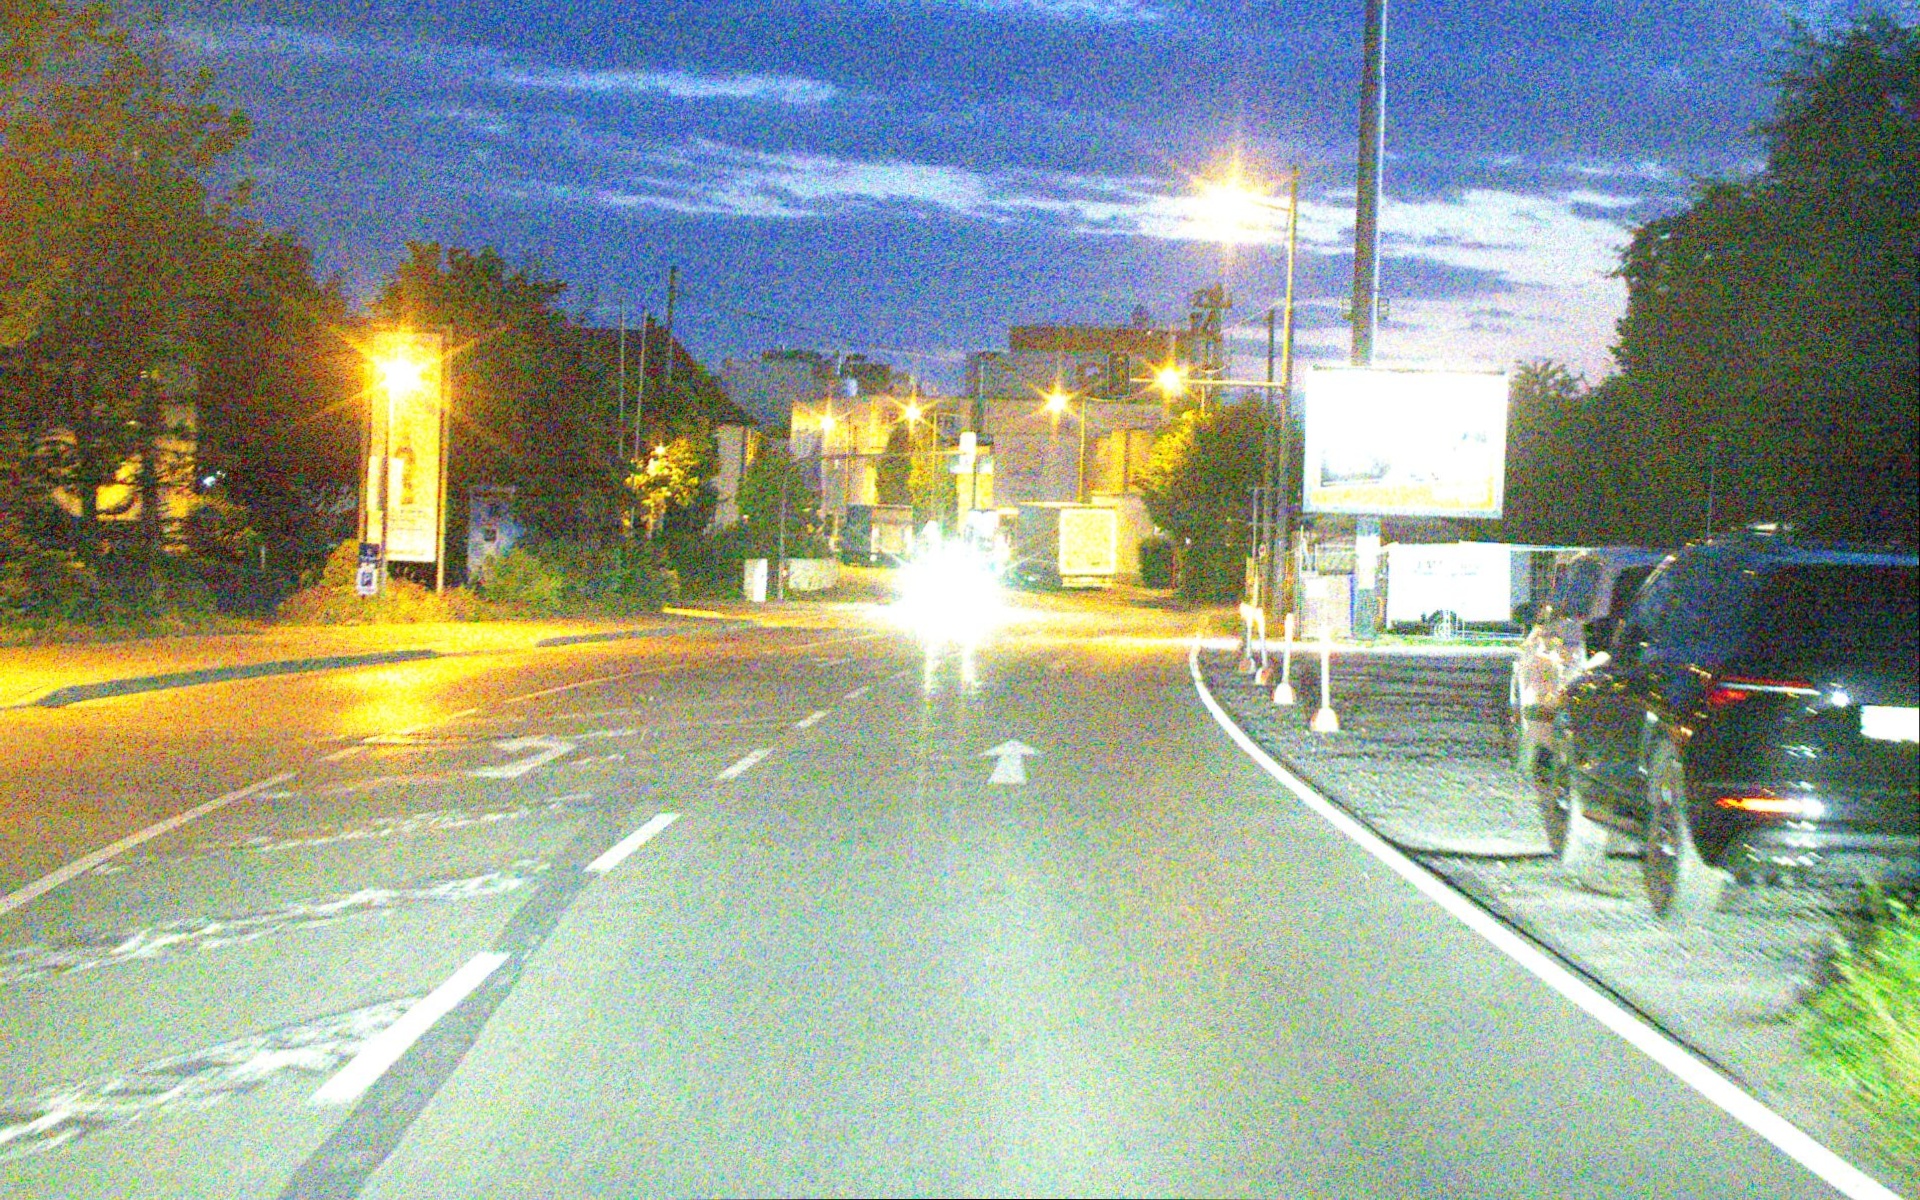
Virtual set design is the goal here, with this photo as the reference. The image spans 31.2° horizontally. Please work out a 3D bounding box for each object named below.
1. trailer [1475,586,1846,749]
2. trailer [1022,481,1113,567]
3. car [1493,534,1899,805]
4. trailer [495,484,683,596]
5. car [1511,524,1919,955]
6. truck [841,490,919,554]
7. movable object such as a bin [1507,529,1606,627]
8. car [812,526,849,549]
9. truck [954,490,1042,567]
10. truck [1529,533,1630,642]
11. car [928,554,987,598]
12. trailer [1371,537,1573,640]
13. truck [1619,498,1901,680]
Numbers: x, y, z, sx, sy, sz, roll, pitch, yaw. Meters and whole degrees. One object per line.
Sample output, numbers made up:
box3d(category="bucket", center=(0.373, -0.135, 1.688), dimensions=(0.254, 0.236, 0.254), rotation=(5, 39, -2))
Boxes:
box3d(category="trailer", center=(6.125, 0.501, 31.365), dimensions=(2.174, 0.963, 9.615), rotation=(4, 1, 5))
box3d(category="trailer", center=(5.122, -3.734, 166.629), dimensions=(2.808, 3.969, 13.977), rotation=(0, 1, -5))
box3d(category="car", center=(4.724, 0.378, 22.646), dimensions=(1.935, 1.546, 4.000), rotation=(2, 1, 3))
box3d(category="trailer", center=(-9.188, -1.498, 85.356), dimensions=(4.349, 2.710, 2.000), rotation=(1, 1, 3))
box3d(category="car", center=(3.782, 0.498, 14.959), dimensions=(1.993, 1.546, 4.326), rotation=(2, 2, 0))
box3d(category="truck", center=(-5.106, -4.940, 216.824), dimensions=(3.519, 3.969, 10.345), rotation=(0, 1, -9))
box3d(category="movable object such as a bin", center=(17.439, -0.659, 100.656), dimensions=(2.227, 2.715, 3.865), rotation=(3, 1, 2))
box3d(category="car", center=(-8.713, -4.196, 231.861), dimensions=(1.852, 1.514, 3.819), rotation=(0, 1, -12))
box3d(category="truck", center=(1.951, -3.850, 183.827), dimensions=(2.829, 3.969, 10.345), rotation=(0, 1, -10))
box3d(category="truck", center=(16.813, -0.369, 93.556), dimensions=(2.184, 2.739, 7.314), rotation=(3, 1, 7))
box3d(category="car", center=(-0.087, -0.934, 133.467), dimensions=(1.994, 1.621, 4.752), rotation=(2, 1, 3))
box3d(category="trailer", center=(10.458, -0.259, 70.243), dimensions=(3.752, 2.007, 1.612), rotation=(1, 2, 28))
box3d(category="truck", center=(11.071, -0.190, 48.294), dimensions=(2.377, 2.276, 7.744), rotation=(2, 1, 2))
